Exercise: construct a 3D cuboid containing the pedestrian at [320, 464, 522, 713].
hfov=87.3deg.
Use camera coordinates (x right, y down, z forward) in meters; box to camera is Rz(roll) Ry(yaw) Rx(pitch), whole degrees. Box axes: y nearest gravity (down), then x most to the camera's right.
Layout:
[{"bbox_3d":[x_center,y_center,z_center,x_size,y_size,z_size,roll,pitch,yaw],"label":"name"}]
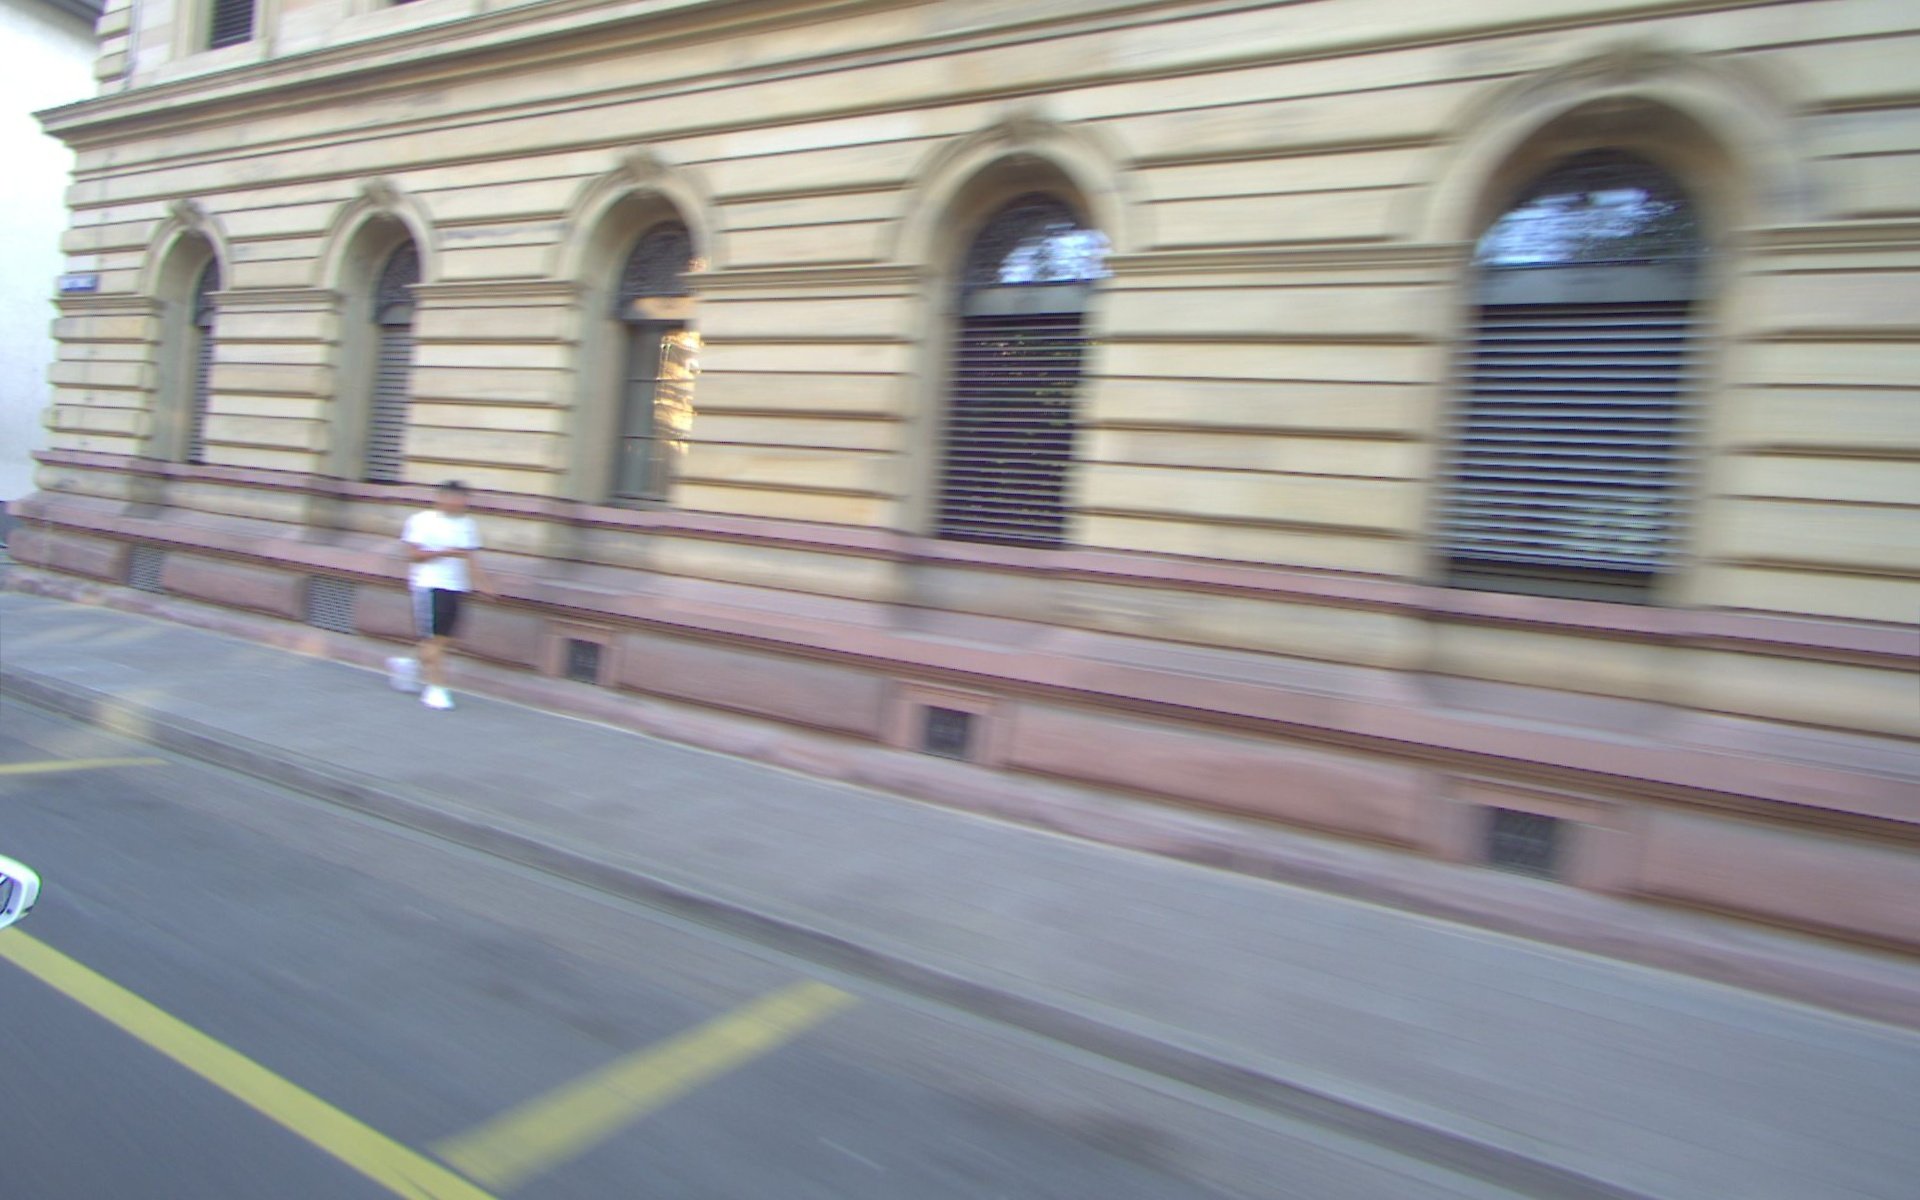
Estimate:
[{"bbox_3d":[-4.262,-0.084,7.970,1.020,1.786,0.818,8,0,32],"label":"pedestrian"}]
